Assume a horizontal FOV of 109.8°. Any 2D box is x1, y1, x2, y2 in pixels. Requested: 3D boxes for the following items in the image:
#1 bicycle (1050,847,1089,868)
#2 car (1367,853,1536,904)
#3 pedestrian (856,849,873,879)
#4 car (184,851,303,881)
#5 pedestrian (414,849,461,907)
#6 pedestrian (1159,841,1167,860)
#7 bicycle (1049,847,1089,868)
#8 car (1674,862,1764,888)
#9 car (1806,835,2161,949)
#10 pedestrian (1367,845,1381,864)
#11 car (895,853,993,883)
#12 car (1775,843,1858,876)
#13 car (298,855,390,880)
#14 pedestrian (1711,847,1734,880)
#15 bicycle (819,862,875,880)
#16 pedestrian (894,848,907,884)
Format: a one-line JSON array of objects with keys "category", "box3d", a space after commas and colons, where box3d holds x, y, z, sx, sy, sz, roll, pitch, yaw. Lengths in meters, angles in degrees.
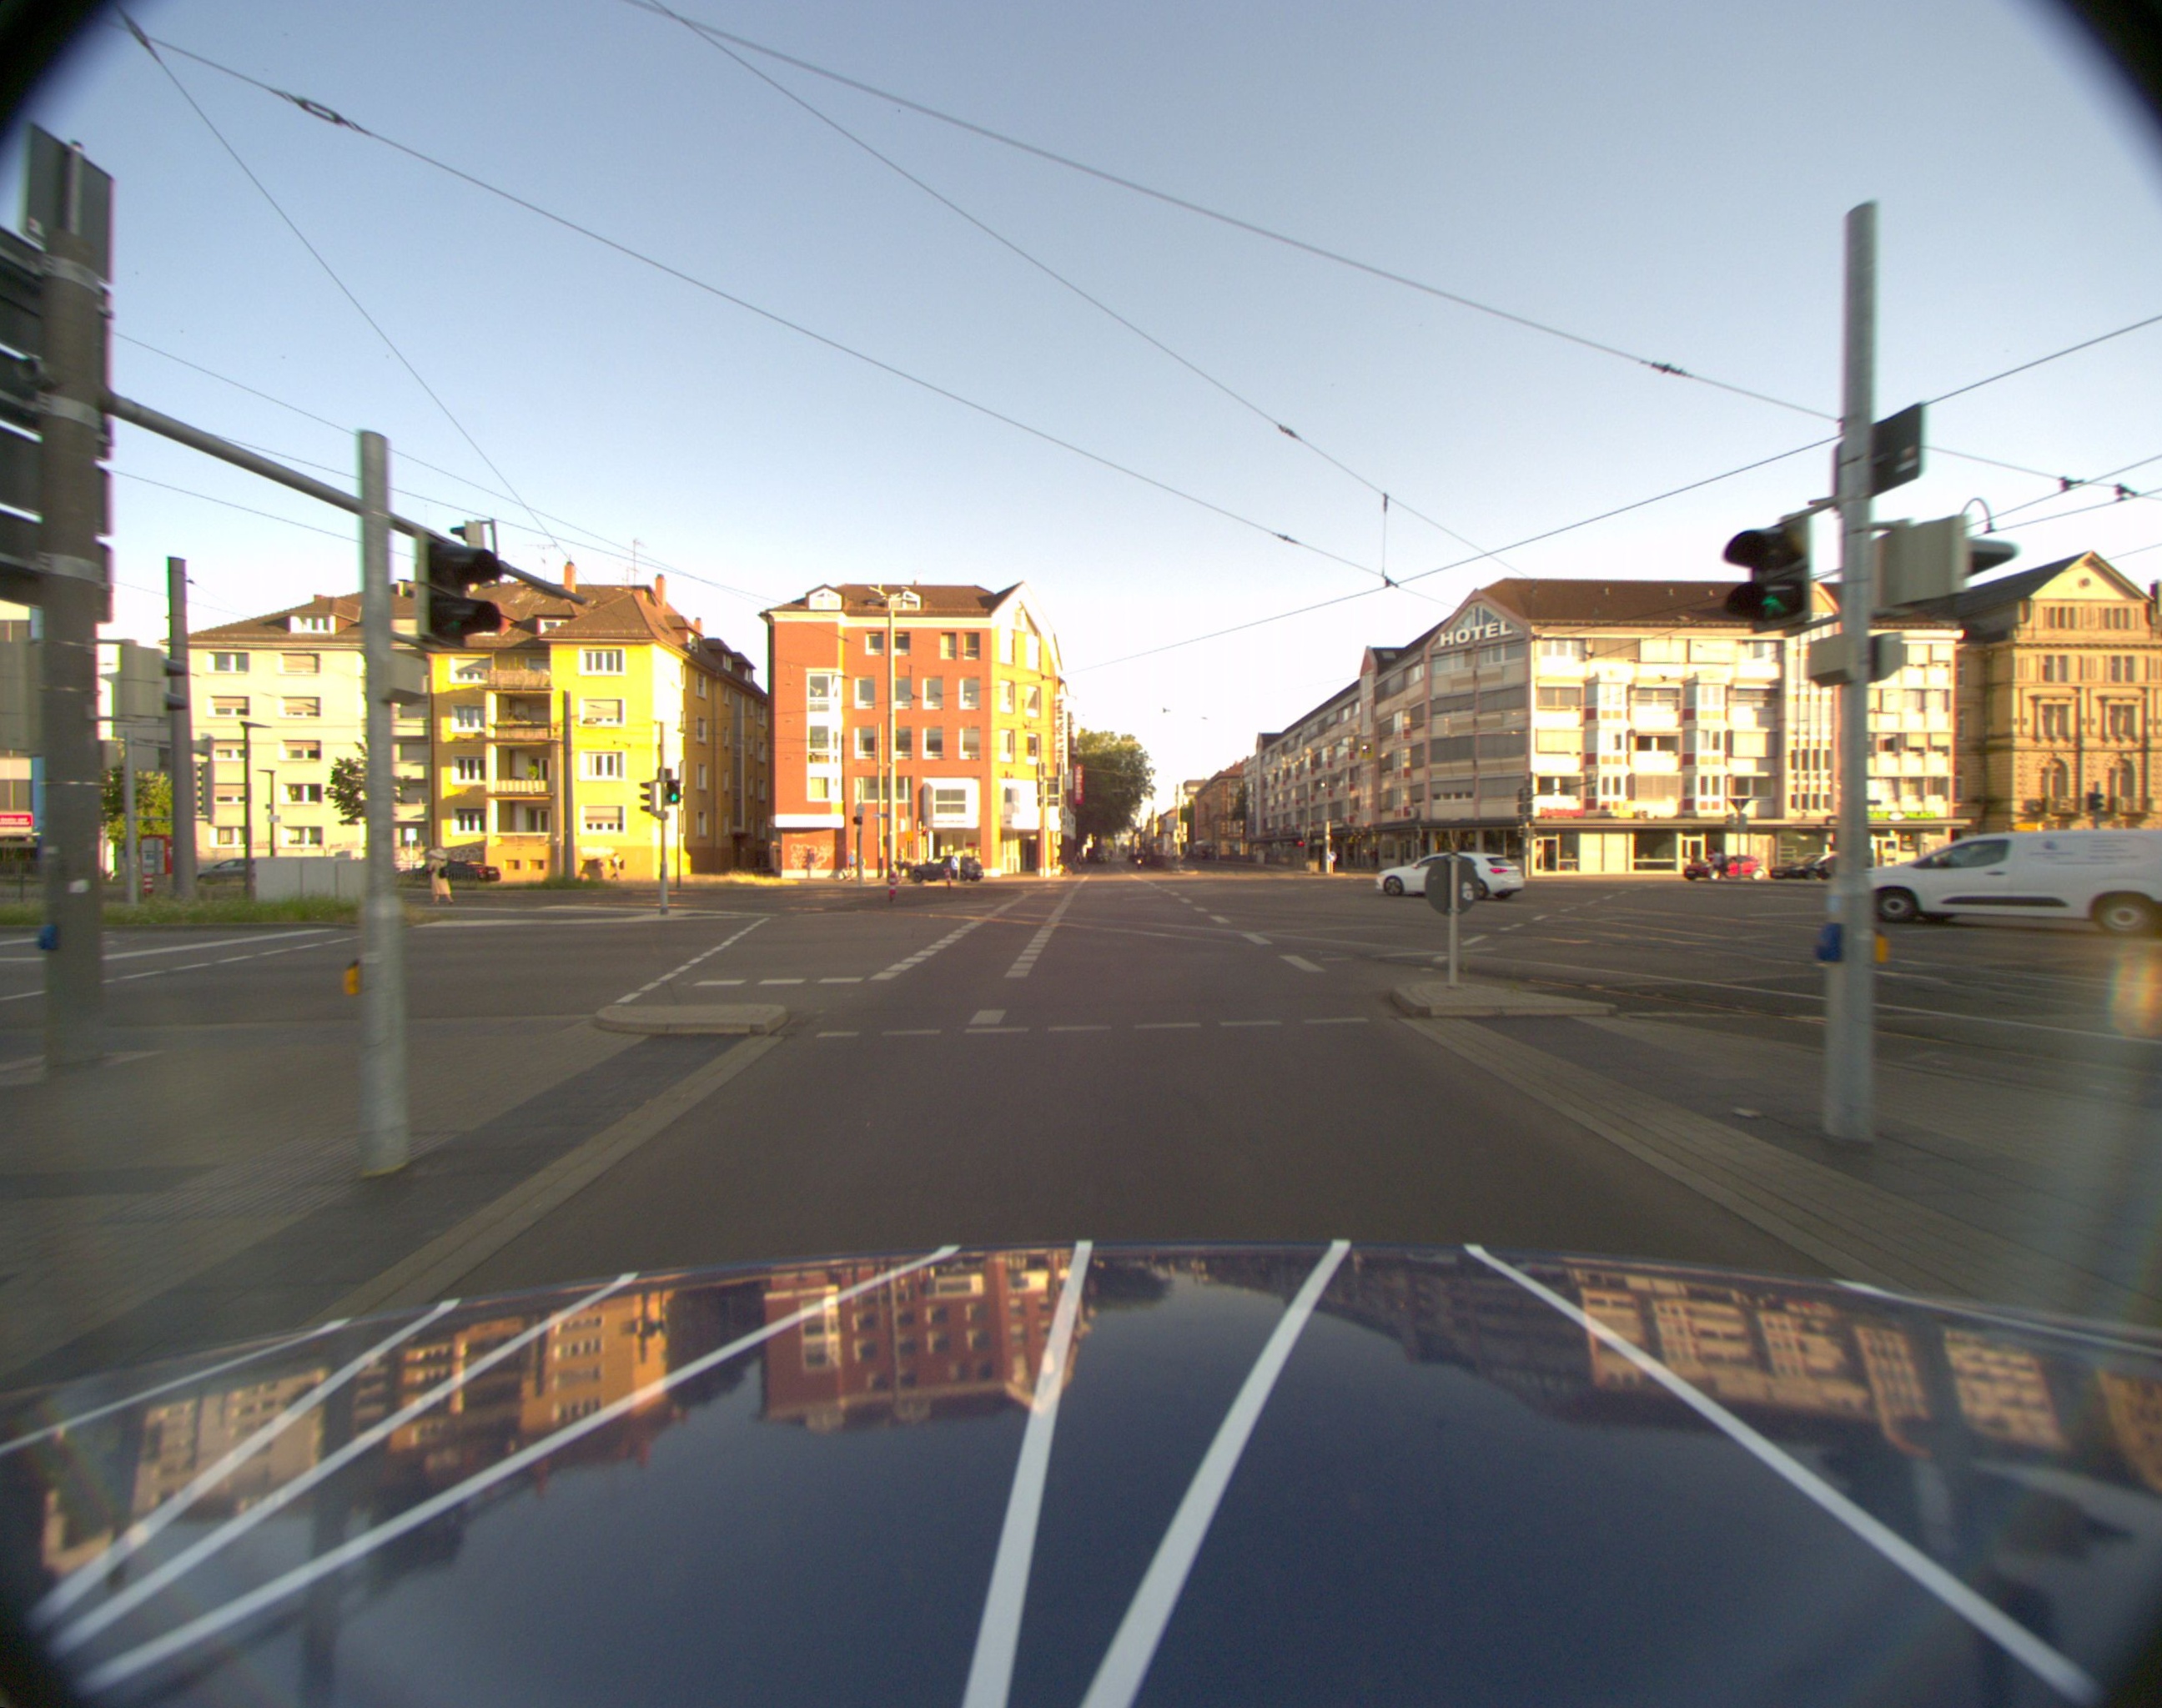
[{"category": "bicycle", "box3d": [-0.981, 0.295, 65.429, 3.305, 1.716, 1.069, 0, 1, 0]}, {"category": "car", "box3d": [11.693, 0.710, 24.312, 1.820, 1.440, 4.551, 0, 1, -34]}, {"category": "pedestrian", "box3d": [-13.057, 0.587, 45.799, 0.873, 1.768, 0.916, 0, 1, -8]}, {"category": "car", "box3d": [-48.447, 0.690, 44.055, 4.348, 1.695, 2.118, 0, 1, -4]}, {"category": "pedestrian", "box3d": [-17.426, 0.626, 20.592, 0.635, 1.532, 0.708, 0, 1, 15]}, {"category": "pedestrian", "box3d": [8.886, -0.353, 82.023, 0.810, 2.002, 0.678, 0, 1, -1]}, {"category": "bicycle", "box3d": [-1.011, 0.277, 64.259, 3.305, 1.716, 1.069, 0, 1, 1]}, {"category": "car", "box3d": [36.390, 1.175, 43.367, 3.895, 1.414, 1.648, 0, 1, -4]}, {"category": "car", "box3d": [17.599, 0.585, 14.624, 2.003, 1.827, 4.867, -1, 1, -20]}, {"category": "pedestrian", "box3d": [25.497, 0.054, 66.114, 0.707, 1.541, 0.906, 1, 4, -1]}, {"category": "car", "box3d": [-7.191, 0.717, 39.923, 4.692, 1.495, 1.920, 0, 1, 19]}, {"category": "car", "box3d": [38.452, 0.282, 39.696, 4.621, 1.546, 2.216, 2, 0, -35]}, {"category": "car", "box3d": [-43.131, 0.778, 44.541, 3.542, 1.412, 1.738, 0, 1, -4]}, {"category": "pedestrian", "box3d": [31.037, 0.467, 36.757, 0.703, 1.573, 0.827, 1, 1, 32]}, {"category": "bicycle", "box3d": [-13.766, 1.017, 44.751, 3.064, 1.011, 0.931, 0, 1, -9]}, {"category": "pedestrian", "box3d": [-8.623, 0.561, 36.302, 0.516, 1.698, 0.418, -1, 1, -23]}]
